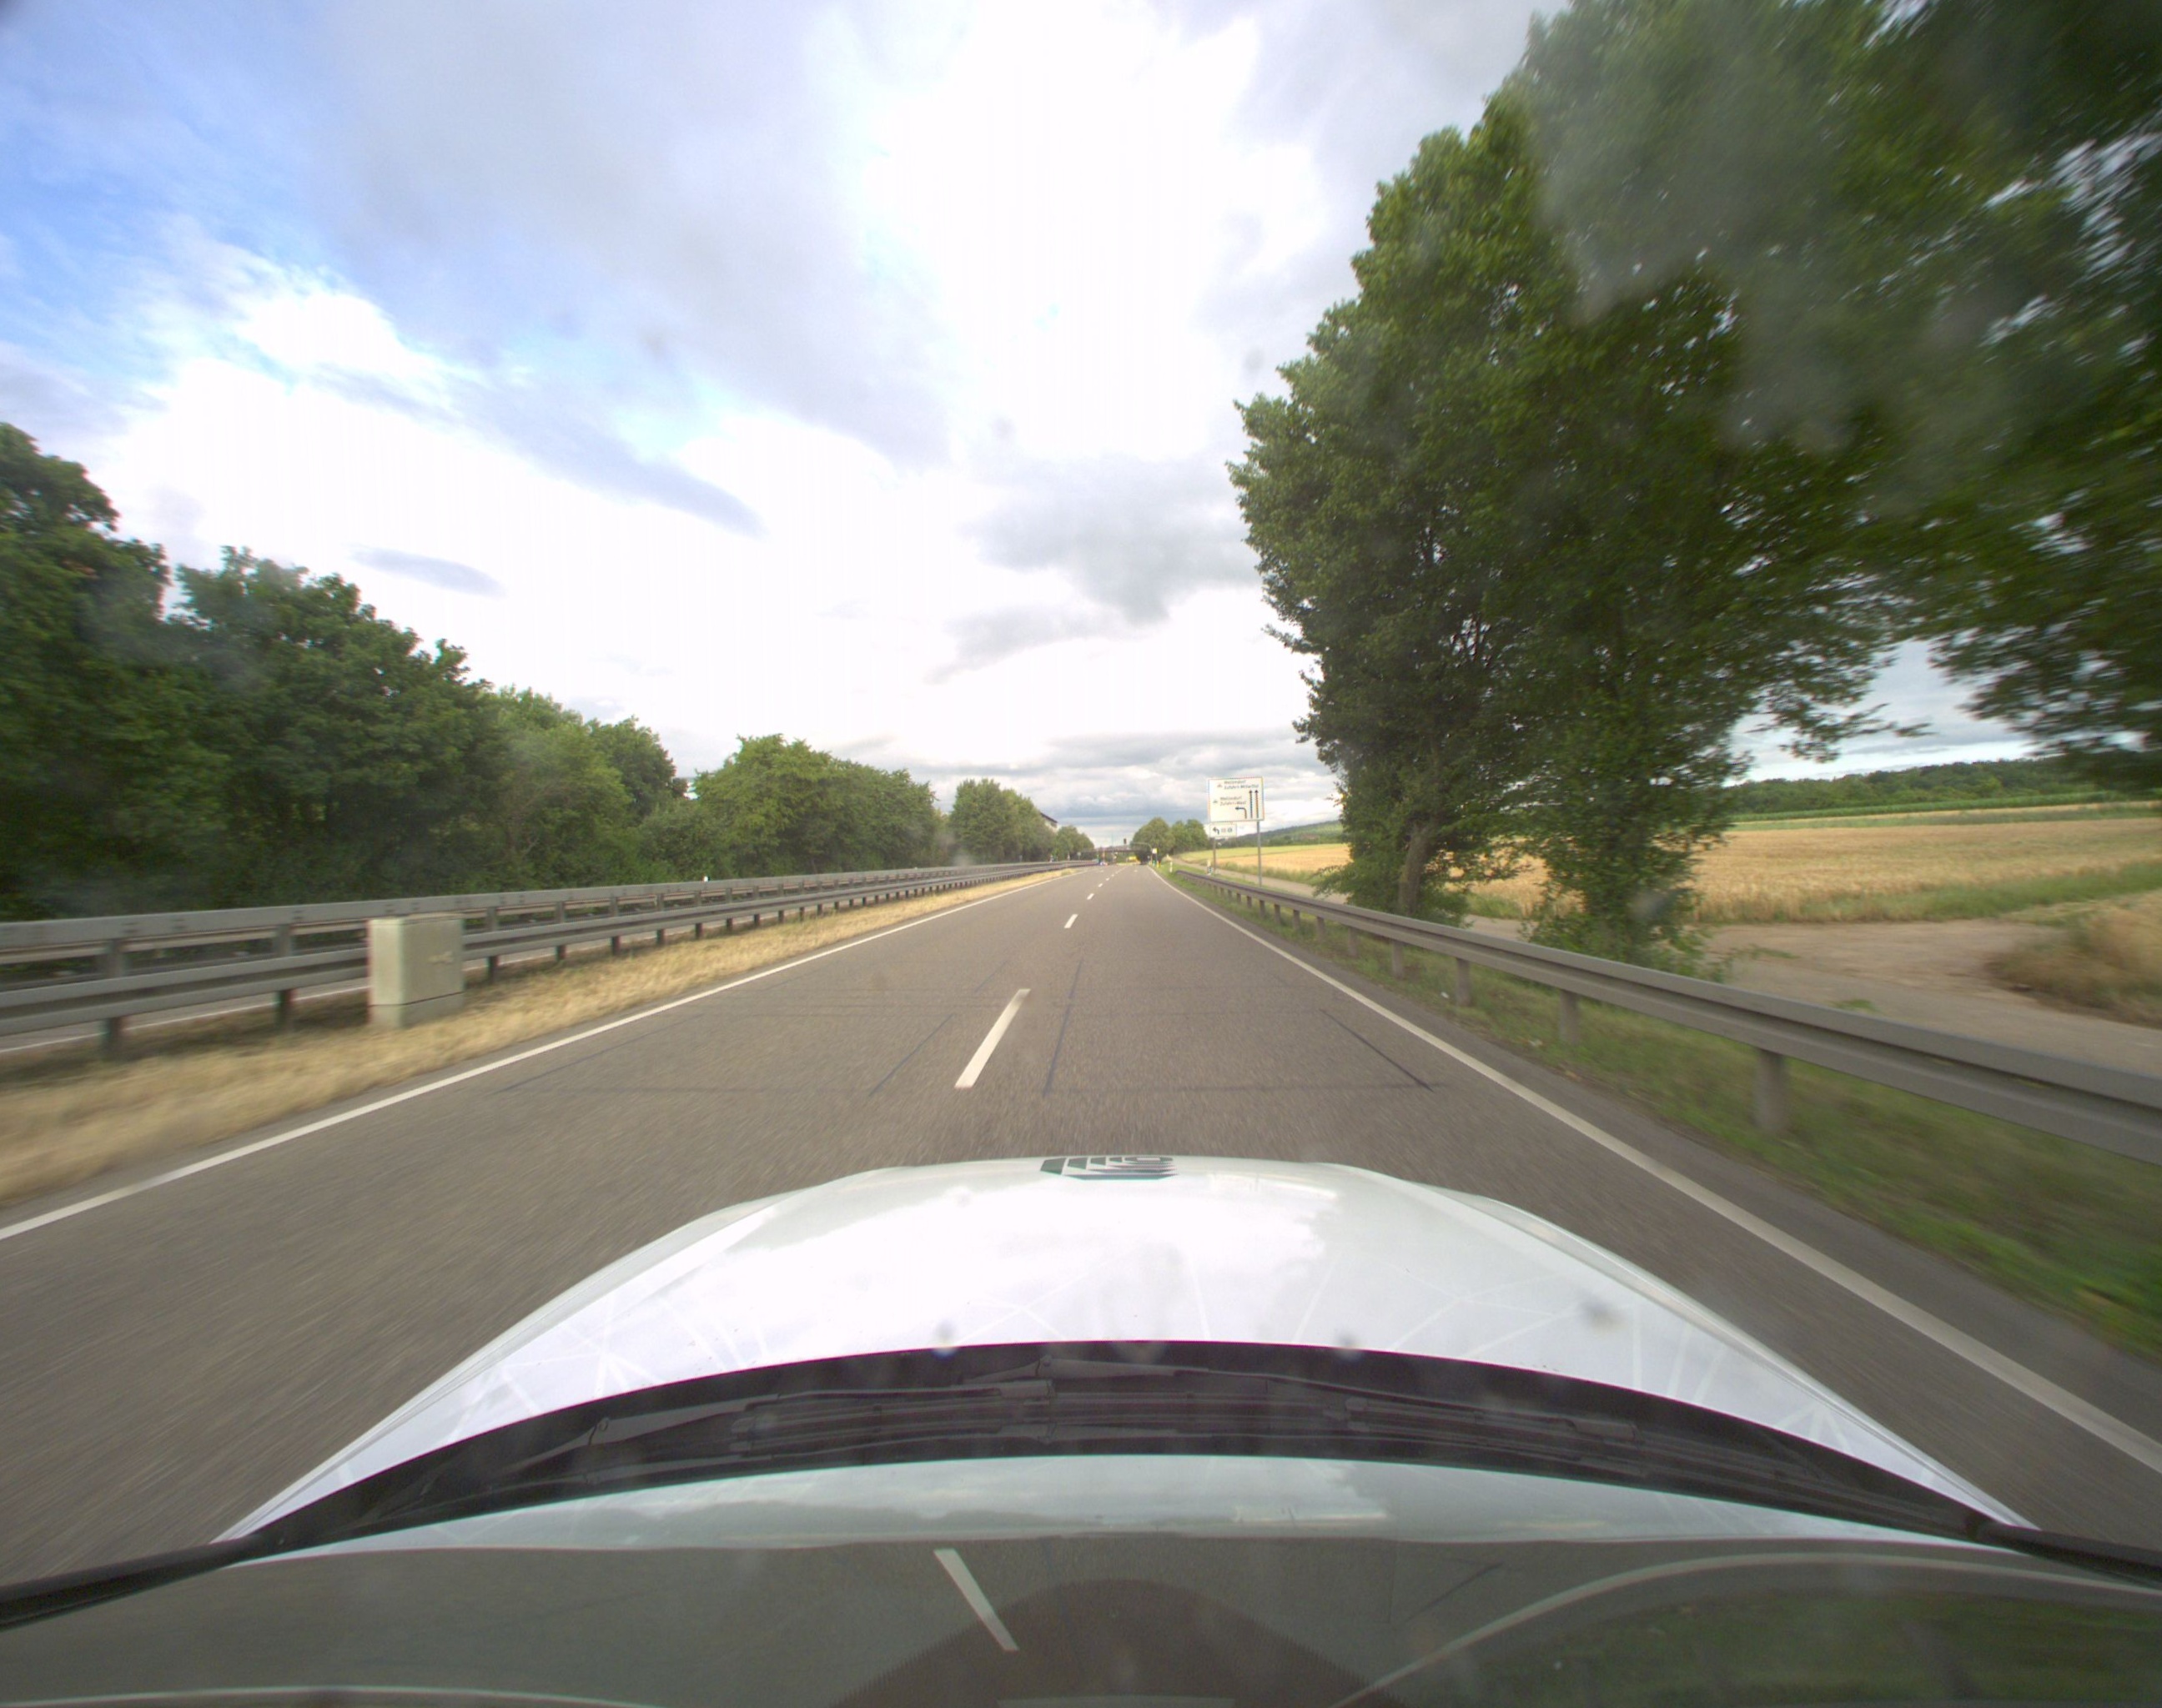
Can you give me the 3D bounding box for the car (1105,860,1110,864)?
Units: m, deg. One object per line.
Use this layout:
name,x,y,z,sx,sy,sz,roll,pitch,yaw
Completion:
car,7.670,2.427,236.237,1.351,1.092,2.926,-2,0,5
